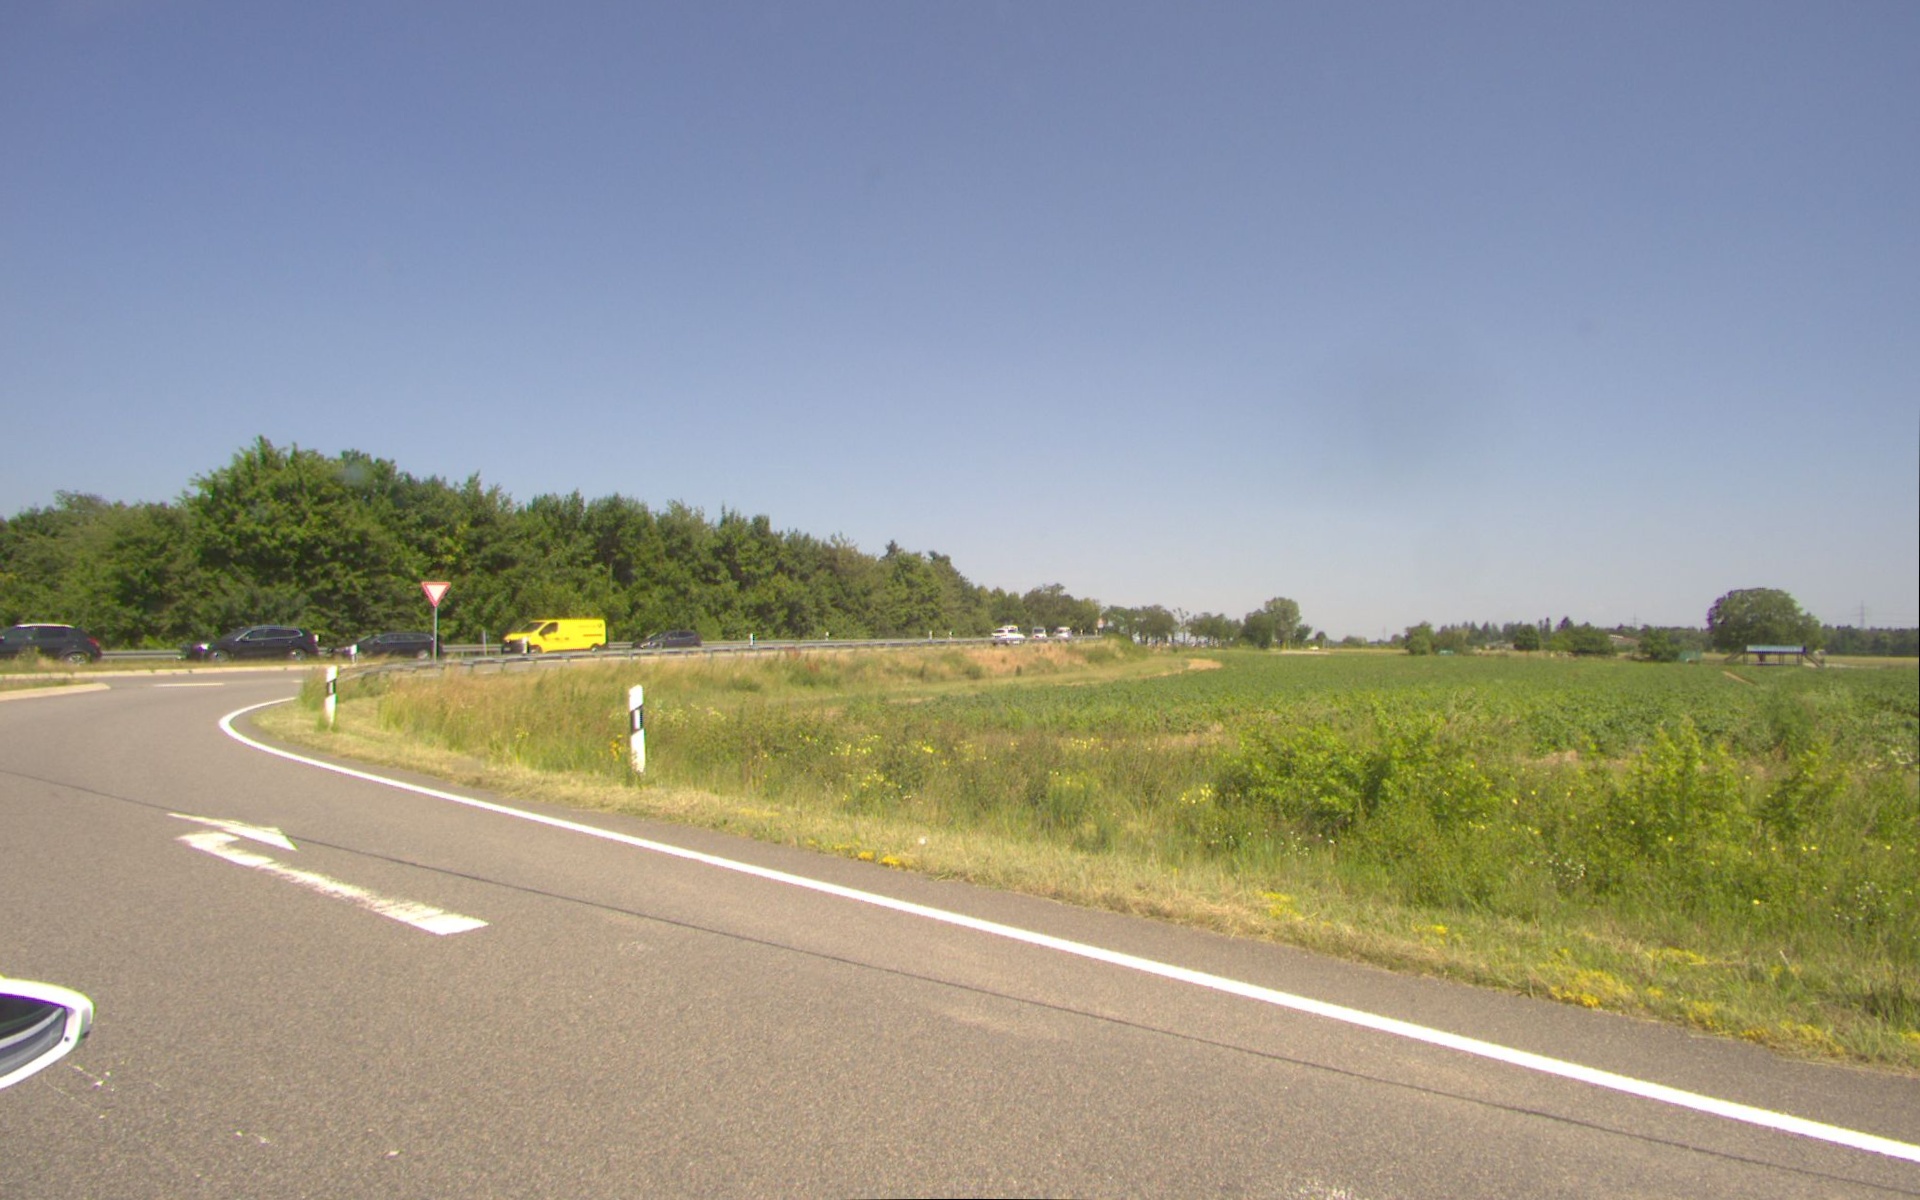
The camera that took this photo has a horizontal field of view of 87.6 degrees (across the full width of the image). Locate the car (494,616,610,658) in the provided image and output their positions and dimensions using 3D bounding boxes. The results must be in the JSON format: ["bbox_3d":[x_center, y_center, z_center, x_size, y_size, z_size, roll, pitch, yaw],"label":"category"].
[{"bbox_3d":[-20.568,1.852,50.714,1.972,2.039,5.311,-1,-2,33],"label":"car"}]

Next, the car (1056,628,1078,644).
[{"bbox_3d":[11.136,3.732,104.257,1.708,1.587,3.690,-1,-2,16],"label":"car"}]

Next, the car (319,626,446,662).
[{"bbox_3d":[-26.057,1.976,45.287,1.831,1.533,4.664,-2,-2,39],"label":"car"}]

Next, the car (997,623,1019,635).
[{"bbox_3d":[6.784,4.123,140.767,1.688,1.589,3.991,0,-2,-20],"label":"car"}]

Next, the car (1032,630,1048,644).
[{"bbox_3d":[9.197,4.221,114.710,1.817,1.533,4.699,-1,-2,5],"label":"car"}]

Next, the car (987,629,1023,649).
[{"bbox_3d":[3.908,3.377,86.455,1.710,1.587,4.471,-1,0,22],"label":"car"}]

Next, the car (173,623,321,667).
[{"bbox_3d":[-28.044,1.745,39.522,1.744,1.618,4.475,-1,-2,34],"label":"car"}]

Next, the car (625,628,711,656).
[{"bbox_3d":[-16.616,2.348,57.154,1.828,1.533,4.671,-1,-2,34],"label":"car"}]

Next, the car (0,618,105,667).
[{"bbox_3d":[-33.007,1.485,35.385,1.818,1.661,3.972,-1,-2,37],"label":"car"}]
